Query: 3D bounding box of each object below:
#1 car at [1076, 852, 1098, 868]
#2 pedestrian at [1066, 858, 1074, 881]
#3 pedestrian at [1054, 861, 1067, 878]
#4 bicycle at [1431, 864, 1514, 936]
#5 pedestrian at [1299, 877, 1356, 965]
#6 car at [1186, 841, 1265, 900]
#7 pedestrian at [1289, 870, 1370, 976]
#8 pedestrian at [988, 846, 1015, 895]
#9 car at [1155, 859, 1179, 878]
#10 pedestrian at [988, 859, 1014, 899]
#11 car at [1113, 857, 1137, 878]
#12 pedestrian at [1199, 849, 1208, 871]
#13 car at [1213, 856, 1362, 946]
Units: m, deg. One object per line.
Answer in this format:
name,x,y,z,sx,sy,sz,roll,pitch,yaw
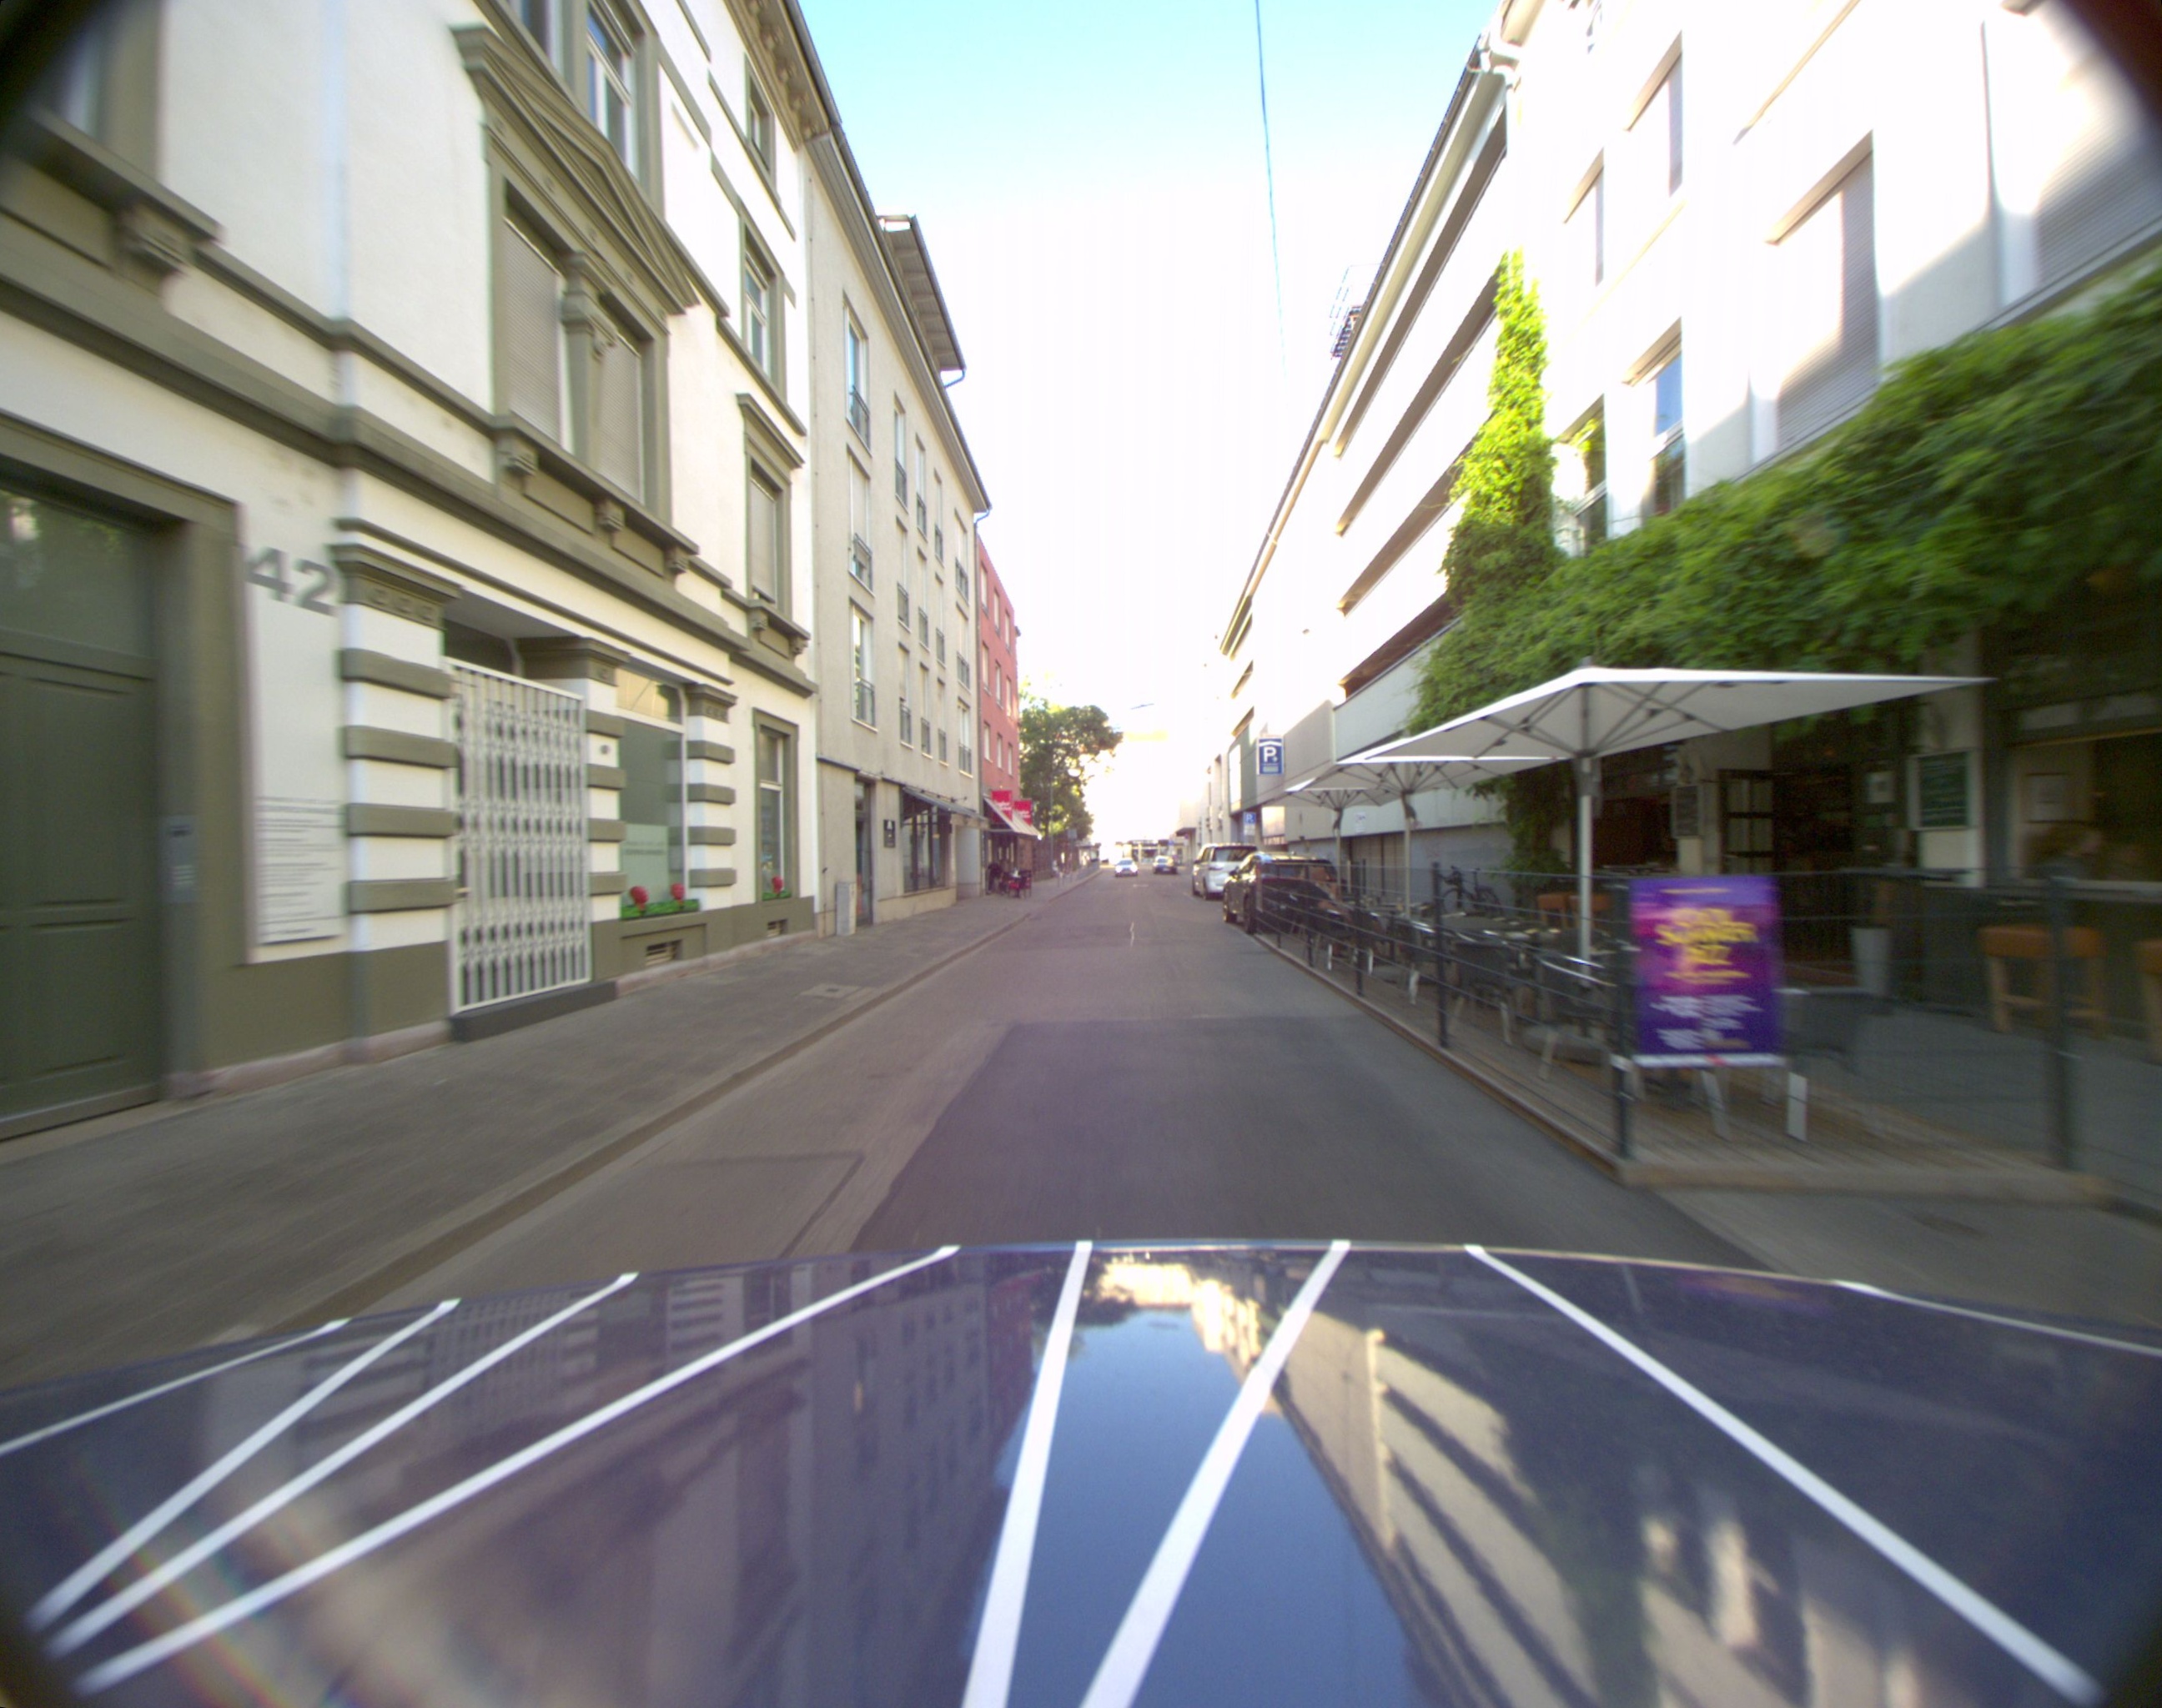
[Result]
car,0.768,0.834,101.373,2.001,2.002,3.995,-2,0,-15
pedestrian,-0.804,1.136,55.409,0.437,1.637,0.558,0,0,11
pedestrian,-1.463,1.155,55.396,0.928,1.242,0.362,0,0,1
bicycle,6.891,0.782,13.475,0.644,1.153,1.795,-2,0,5
pedestrian,3.506,0.924,10.780,0.552,1.159,0.743,-1,0,36
car,5.047,0.545,27.190,1.998,1.928,4.851,0,0,2
pedestrian,3.189,0.868,9.835,0.782,1.279,0.916,-1,0,4
pedestrian,-2.959,0.619,28.143,0.661,1.782,0.728,1,1,-36
car,7.391,1.212,65.079,1.997,1.409,4.560,0,1,7
pedestrian,-2.980,0.918,28.384,0.827,1.477,0.661,-1,0,3
car,3.504,1.050,60.466,1.788,1.515,4.001,-3,0,4
pedestrian,9.333,0.457,57.900,0.620,1.616,0.565,-2,0,4
car,4.061,0.840,15.799,1.885,1.559,4.771,1,0,2
